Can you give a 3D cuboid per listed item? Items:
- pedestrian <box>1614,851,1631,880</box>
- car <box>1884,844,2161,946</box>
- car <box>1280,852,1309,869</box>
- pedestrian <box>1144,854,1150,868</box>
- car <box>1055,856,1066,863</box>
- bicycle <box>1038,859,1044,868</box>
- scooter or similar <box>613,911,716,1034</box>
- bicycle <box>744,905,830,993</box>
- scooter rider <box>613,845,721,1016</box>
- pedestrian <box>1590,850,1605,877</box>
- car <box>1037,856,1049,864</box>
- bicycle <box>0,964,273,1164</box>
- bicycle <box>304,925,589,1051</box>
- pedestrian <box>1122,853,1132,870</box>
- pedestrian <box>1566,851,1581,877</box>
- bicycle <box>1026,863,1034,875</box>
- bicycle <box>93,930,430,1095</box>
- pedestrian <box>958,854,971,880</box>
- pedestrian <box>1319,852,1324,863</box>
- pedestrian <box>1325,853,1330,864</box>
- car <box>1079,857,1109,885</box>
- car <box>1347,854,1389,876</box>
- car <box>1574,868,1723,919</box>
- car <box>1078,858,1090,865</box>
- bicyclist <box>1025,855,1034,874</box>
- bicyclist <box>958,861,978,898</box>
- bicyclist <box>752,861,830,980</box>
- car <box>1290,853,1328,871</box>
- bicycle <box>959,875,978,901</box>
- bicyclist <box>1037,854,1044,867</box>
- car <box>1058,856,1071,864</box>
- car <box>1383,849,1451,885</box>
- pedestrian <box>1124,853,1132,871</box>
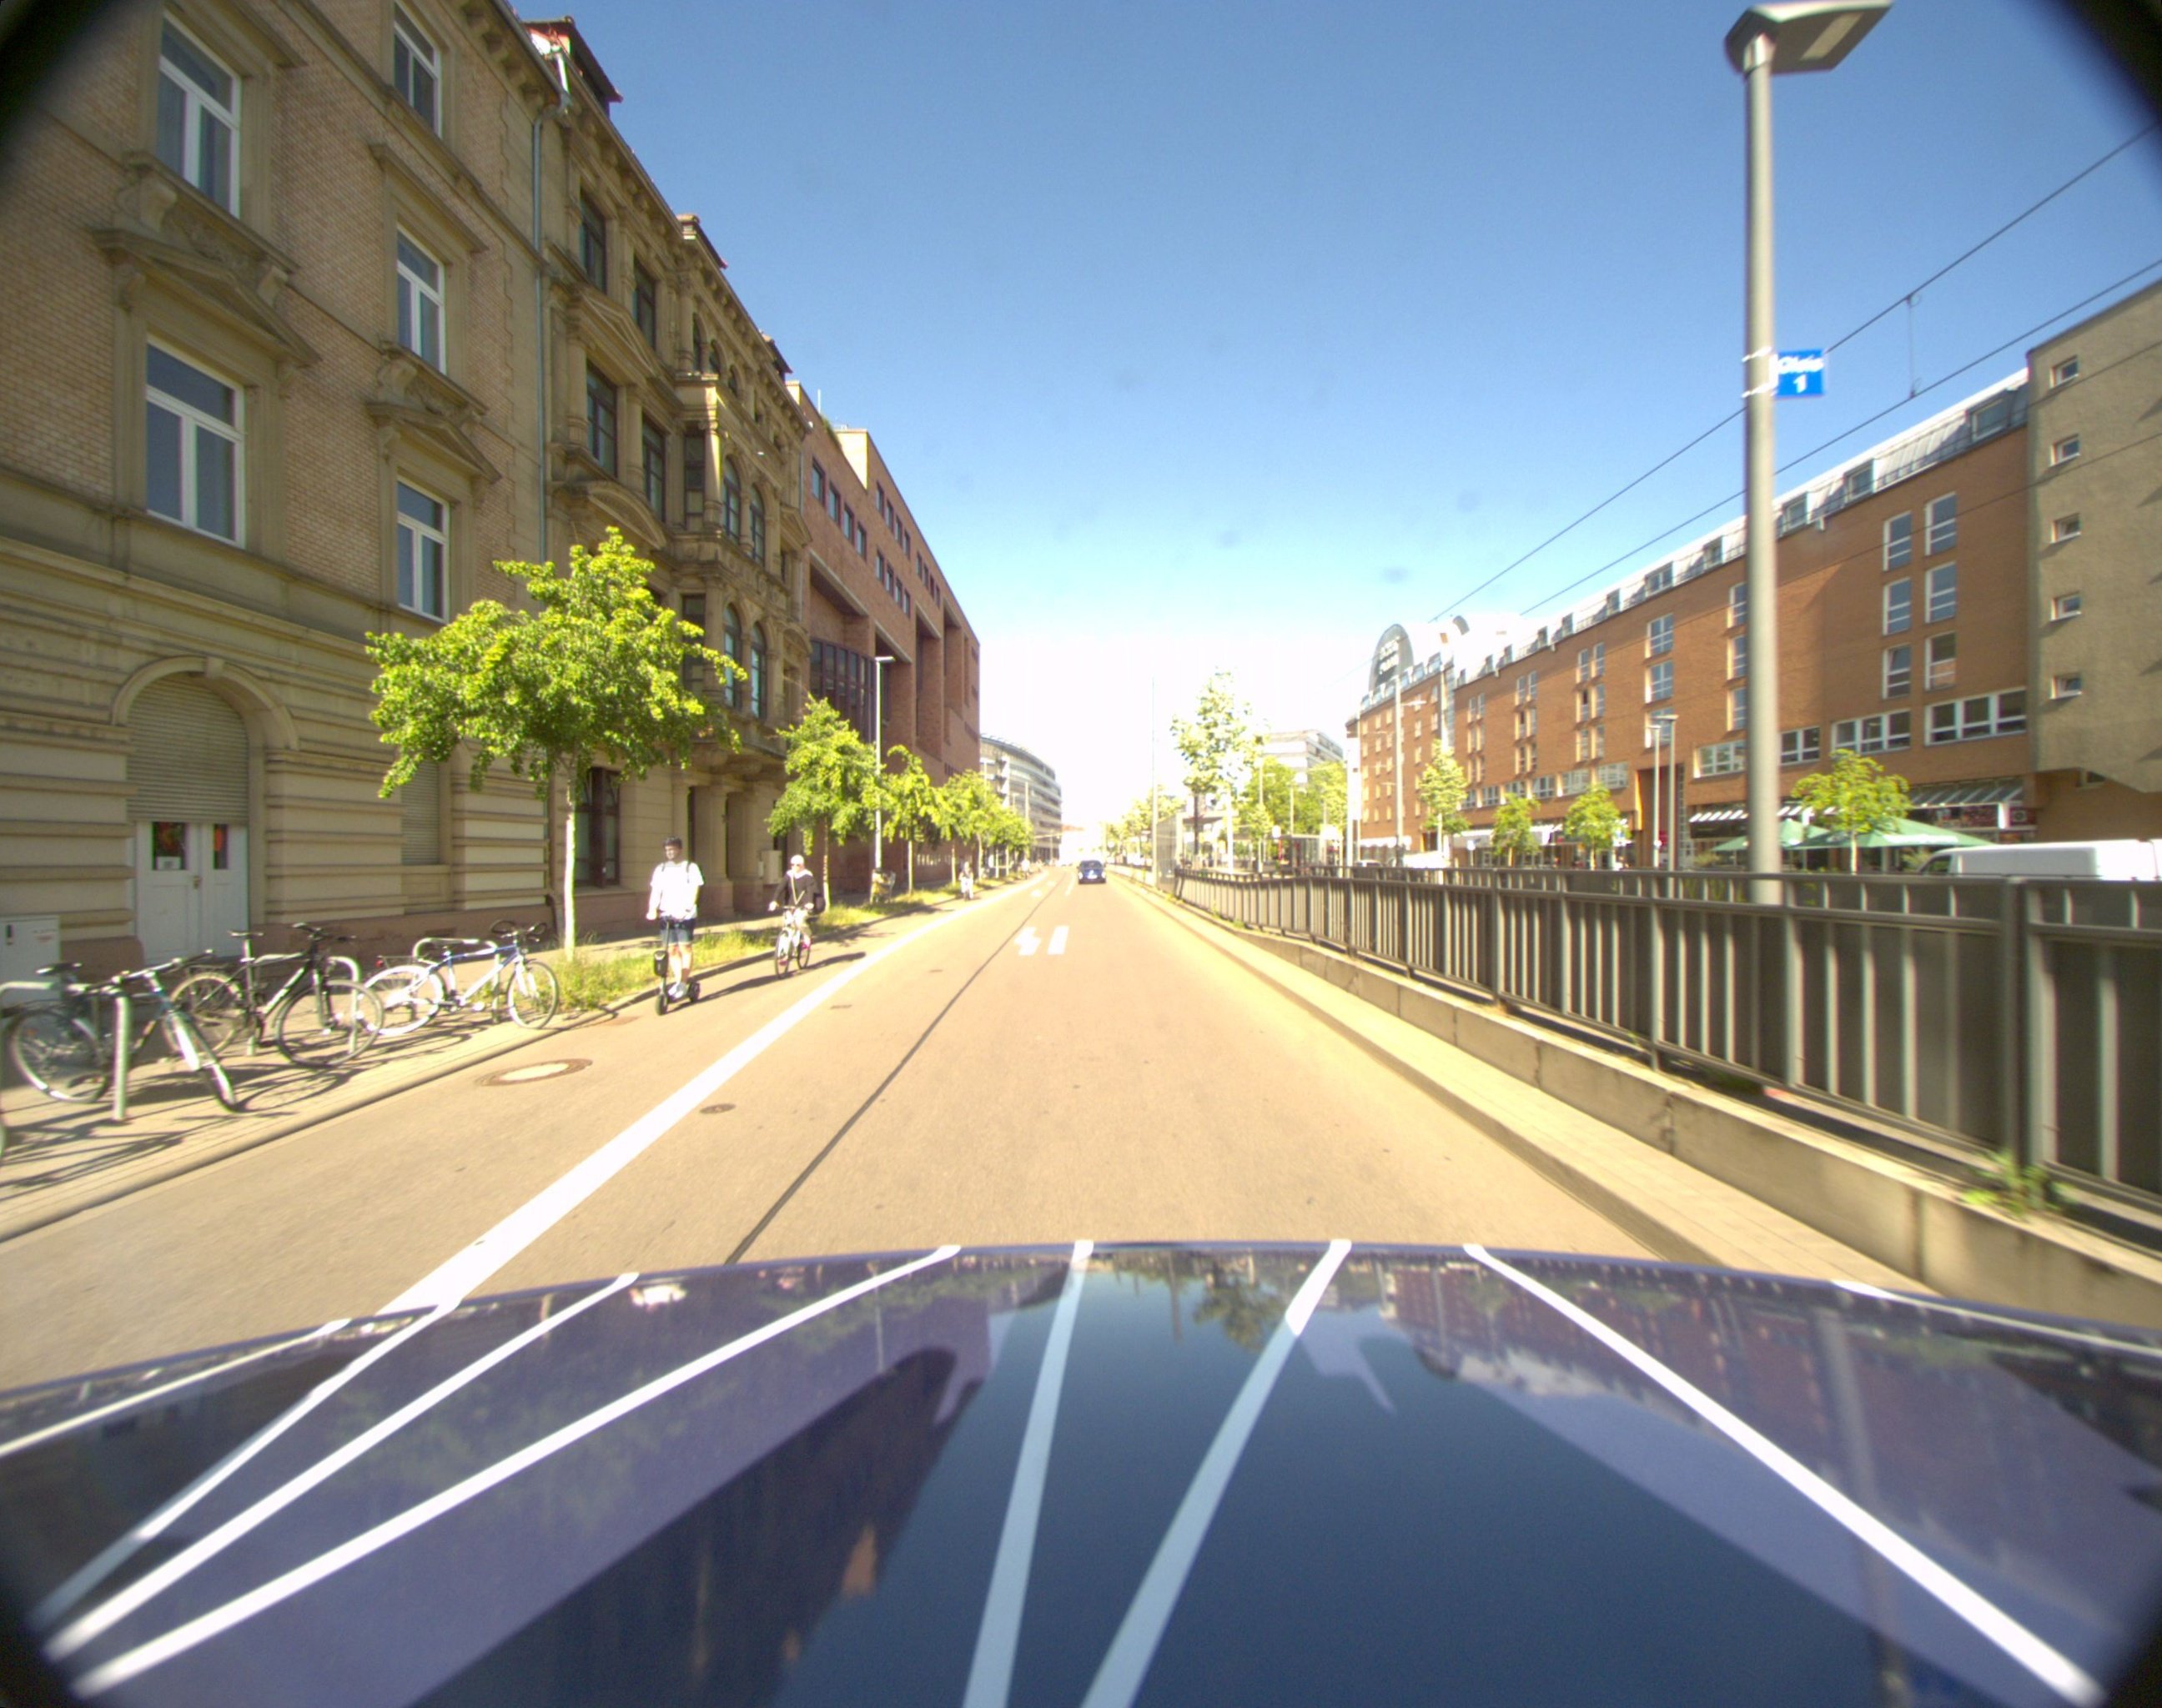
[{"bbox_3d":[34.521,0.726,48.441,0.622,1.830,0.645,0,1,1],"label":"pedestrian"},{"bbox_3d":[25.108,0.940,20.258,1.997,2.356,5.649,-1,0,8],"label":"car"},{"bbox_3d":[23.203,0.717,82.583,1.998,1.674,3.999,-2,1,0],"label":"car"},{"bbox_3d":[7.806,0.822,90.084,0.610,1.560,0.908,0,0,-3],"label":"pedestrian"},{"bbox_3d":[-4.732,1.193,178.495,1.882,1.455,4.001,-2,1,7],"label":"car"},{"bbox_3d":[-5.164,1.205,98.555,0.578,1.090,1.507,-2,0,3],"label":"bicycle"},{"bbox_3d":[-4.764,1.318,8.772,0.492,1.219,1.170,-2,0,0],"label":"scooter or similar"},{"bbox_3d":[-4.378,1.381,11.451,0.558,1.086,1.792,-2,0,0],"label":"bicycle"},{"bbox_3d":[-4.755,0.840,8.783,0.668,1.850,0.901,-2,0,0],"label":"scooter rider"},{"bbox_3d":[35.657,0.663,52.447,0.622,1.830,0.644,0,1,-1],"label":"pedestrian"},{"bbox_3d":[-8.040,1.304,162.960,1.882,1.455,4.001,-2,1,7],"label":"car"},{"bbox_3d":[-6.308,1.308,4.899,1.603,1.039,0.607,2,0,4],"label":"bicycle"},{"bbox_3d":[-6.224,1.311,7.583,2.002,1.086,0.846,2,0,-9],"label":"bicycle"},{"bbox_3d":[5.009,0.843,83.399,0.994,1.800,1.022,0,1,-3],"label":"pedestrian"},{"bbox_3d":[34.898,0.715,53.870,0.622,1.830,0.644,0,1,-1],"label":"pedestrian"},{"bbox_3d":[-4.611,1.367,68.758,0.578,1.090,1.507,-2,0,2],"label":"bicycle"},{"bbox_3d":[-6.633,1.256,6.214,1.999,1.121,0.710,2,0,2],"label":"bicycle"},{"bbox_3d":[-8.538,0.948,55.824,0.790,1.872,1.106,0,1,0],"label":"pedestrian"},{"bbox_3d":[36.511,0.557,115.269,0.645,1.696,0.728,0,1,5],"label":"pedestrian"},{"bbox_3d":[37.665,0.686,116.143,0.645,1.601,0.728,0,0,5],"label":"pedestrian"},{"bbox_3d":[0.847,1.082,48.906,1.802,1.596,3.999,-2,1,1],"label":"car"},{"bbox_3d":[24.113,0.901,64.021,1.998,1.674,3.999,-2,1,0],"label":"car"},{"bbox_3d":[17.559,1.170,23.778,1.699,1.279,3.960,-2,1,0],"label":"car"},{"bbox_3d":[0.692,1.568,162.914,1.882,1.455,4.002,-2,1,8],"label":"car"},{"bbox_3d":[-4.636,0.931,68.641,0.684,1.718,0.909,-2,0,3],"label":"bicyclist"},{"bbox_3d":[-4.899,1.103,32.873,0.659,1.528,0.909,-2,0,0],"label":"bicyclist"},{"bbox_3d":[-4.375,0.972,11.526,0.781,1.701,0.868,-2,0,0],"label":"bicyclist"},{"bbox_3d":[17.824,0.629,59.563,1.699,1.279,3.960,-2,1,0],"label":"car"},{"bbox_3d":[-4.872,1.456,32.840,0.558,1.021,1.507,-2,0,0],"label":"bicycle"},{"bbox_3d":[-5.220,0.832,98.545,0.755,1.607,0.762,-2,1,3],"label":"bicyclist"},{"bbox_3d":[-3.601,1.250,162.396,2.120,1.547,4.003,0,0,9],"label":"car"},{"bbox_3d":[18.064,0.661,41.104,1.824,1.784,4.088,-2,1,0],"label":"car"},{"bbox_3d":[4.430,0.763,72.122,0.710,1.713,0.752,0,1,-1],"label":"pedestrian"}]
